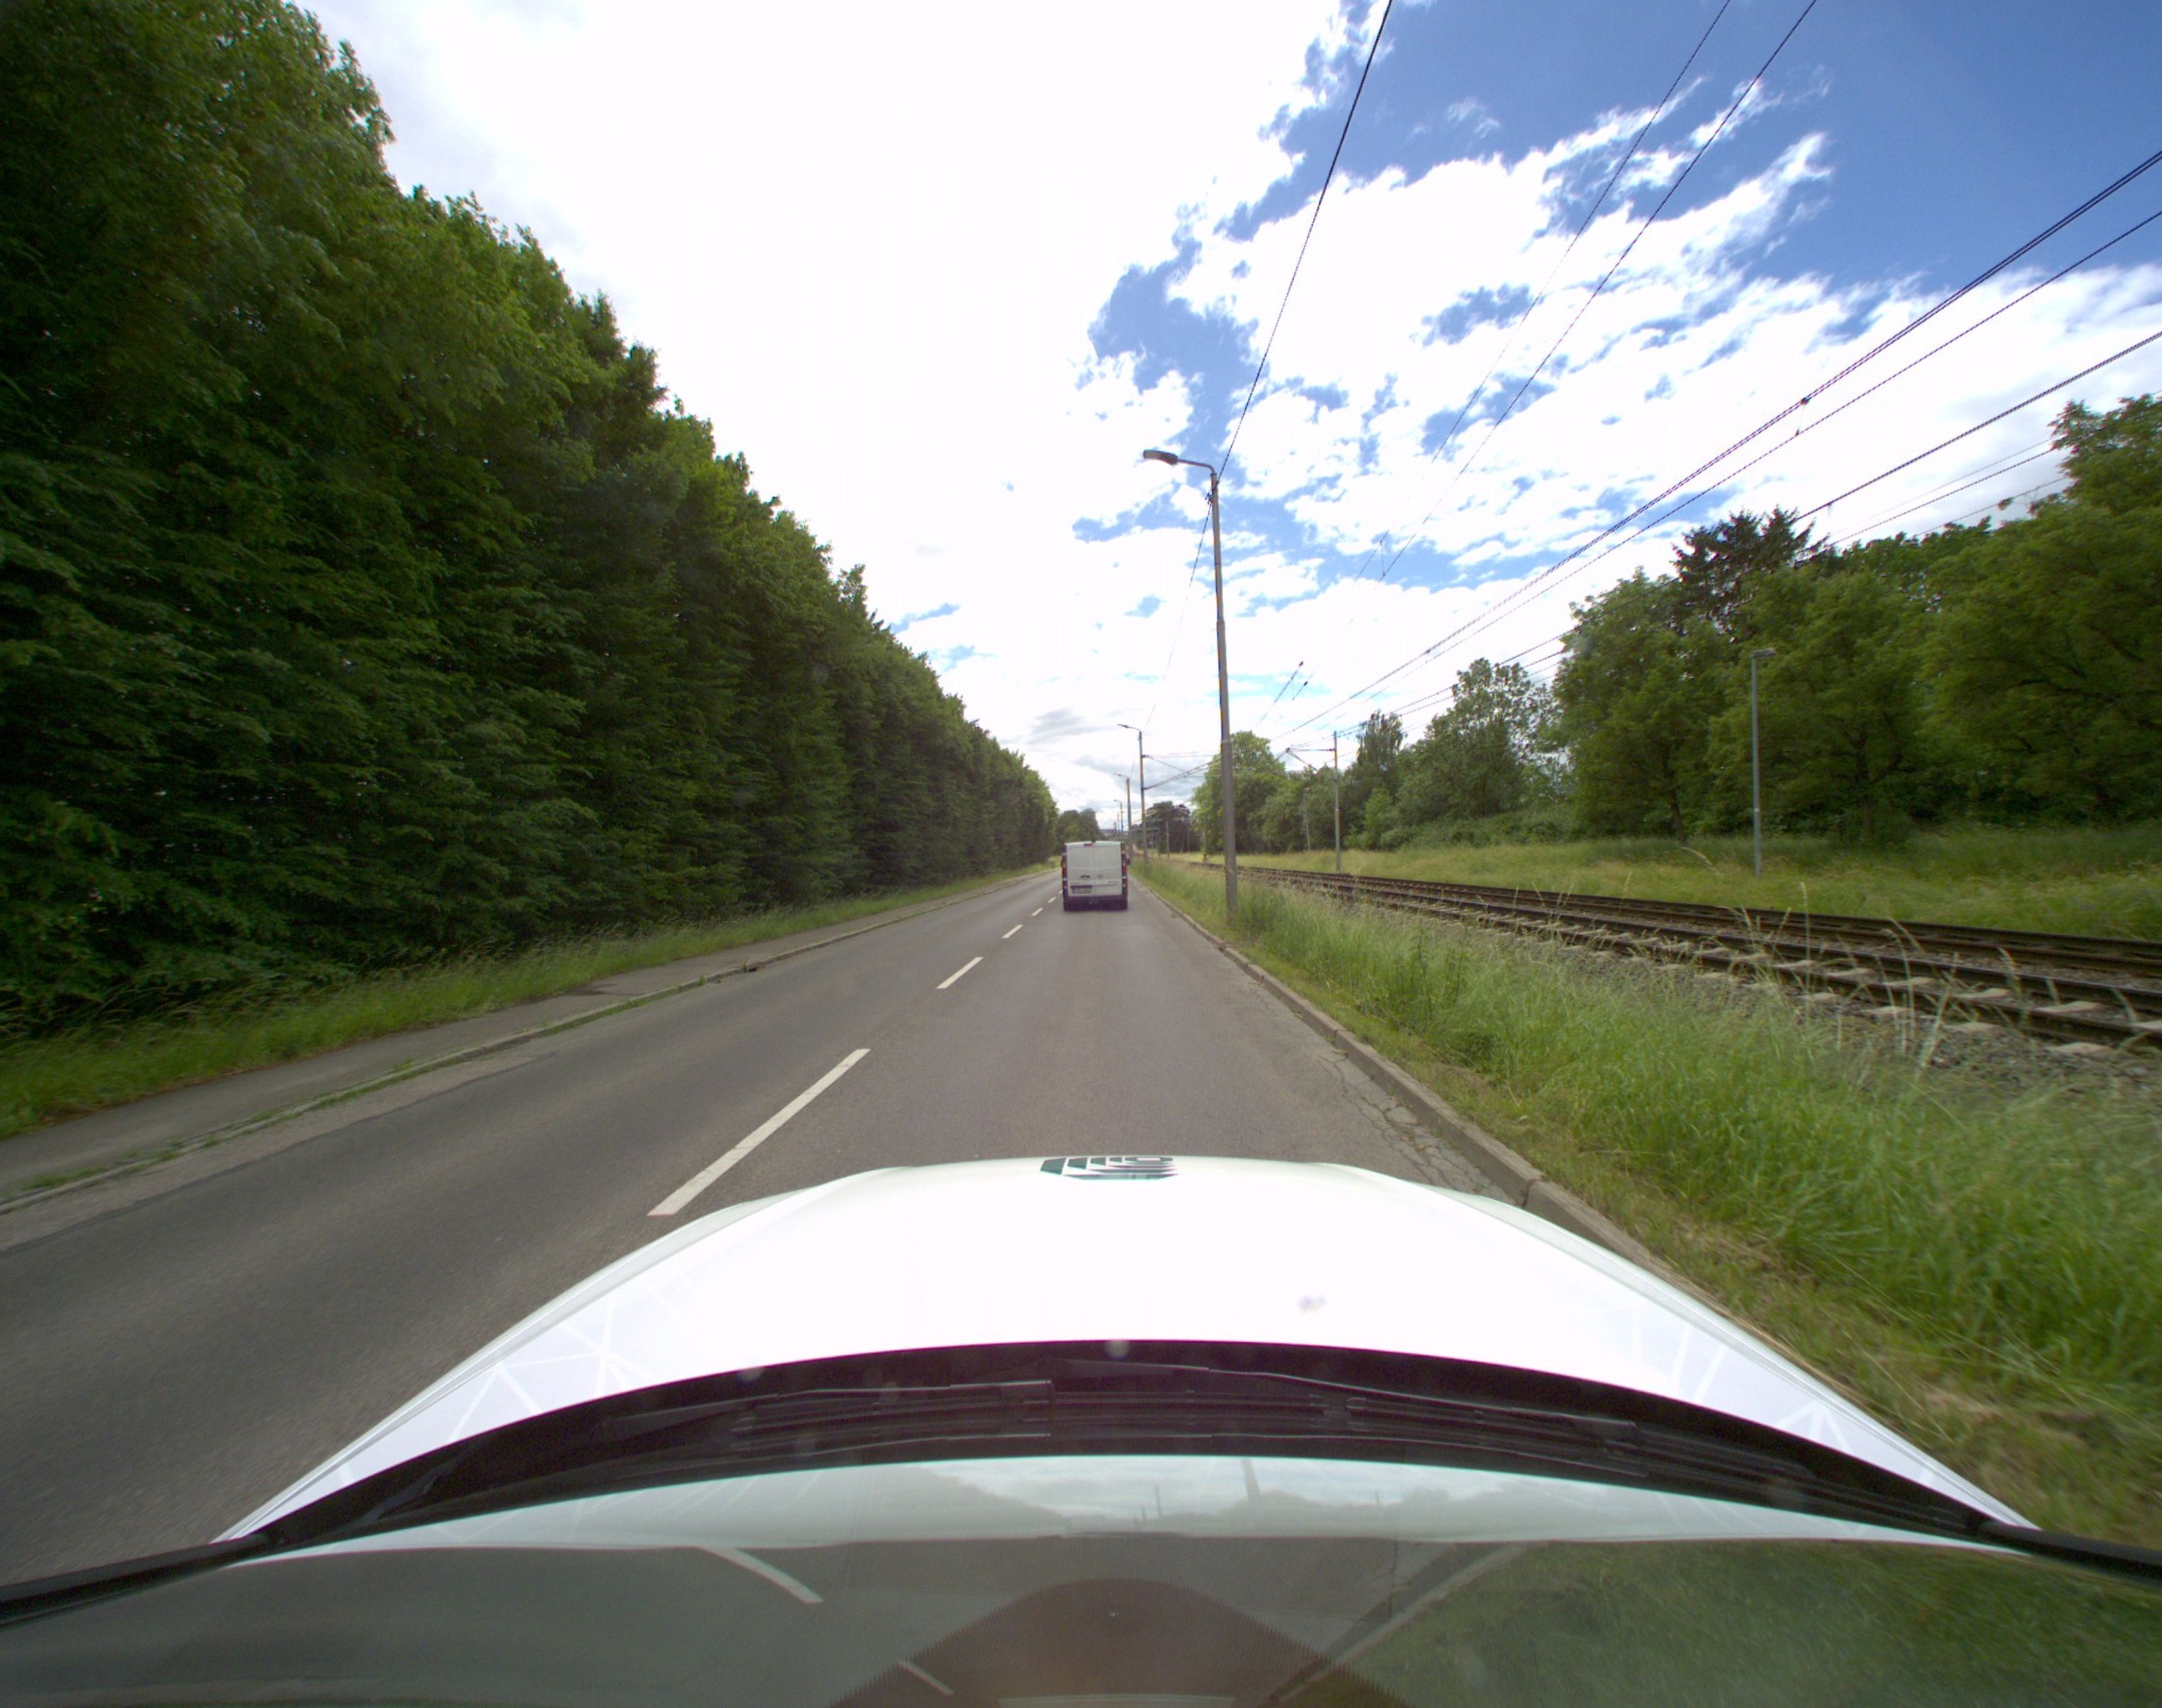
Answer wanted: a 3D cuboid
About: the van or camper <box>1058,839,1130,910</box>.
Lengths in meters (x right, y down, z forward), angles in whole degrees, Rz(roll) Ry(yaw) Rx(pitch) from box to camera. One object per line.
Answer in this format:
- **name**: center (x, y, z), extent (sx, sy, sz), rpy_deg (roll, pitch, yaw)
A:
- **van or camper**: center (0.400, 0.555, 24.504), extent (1.935, 1.897, 4.285), rpy_deg (-1, 0, 1)
